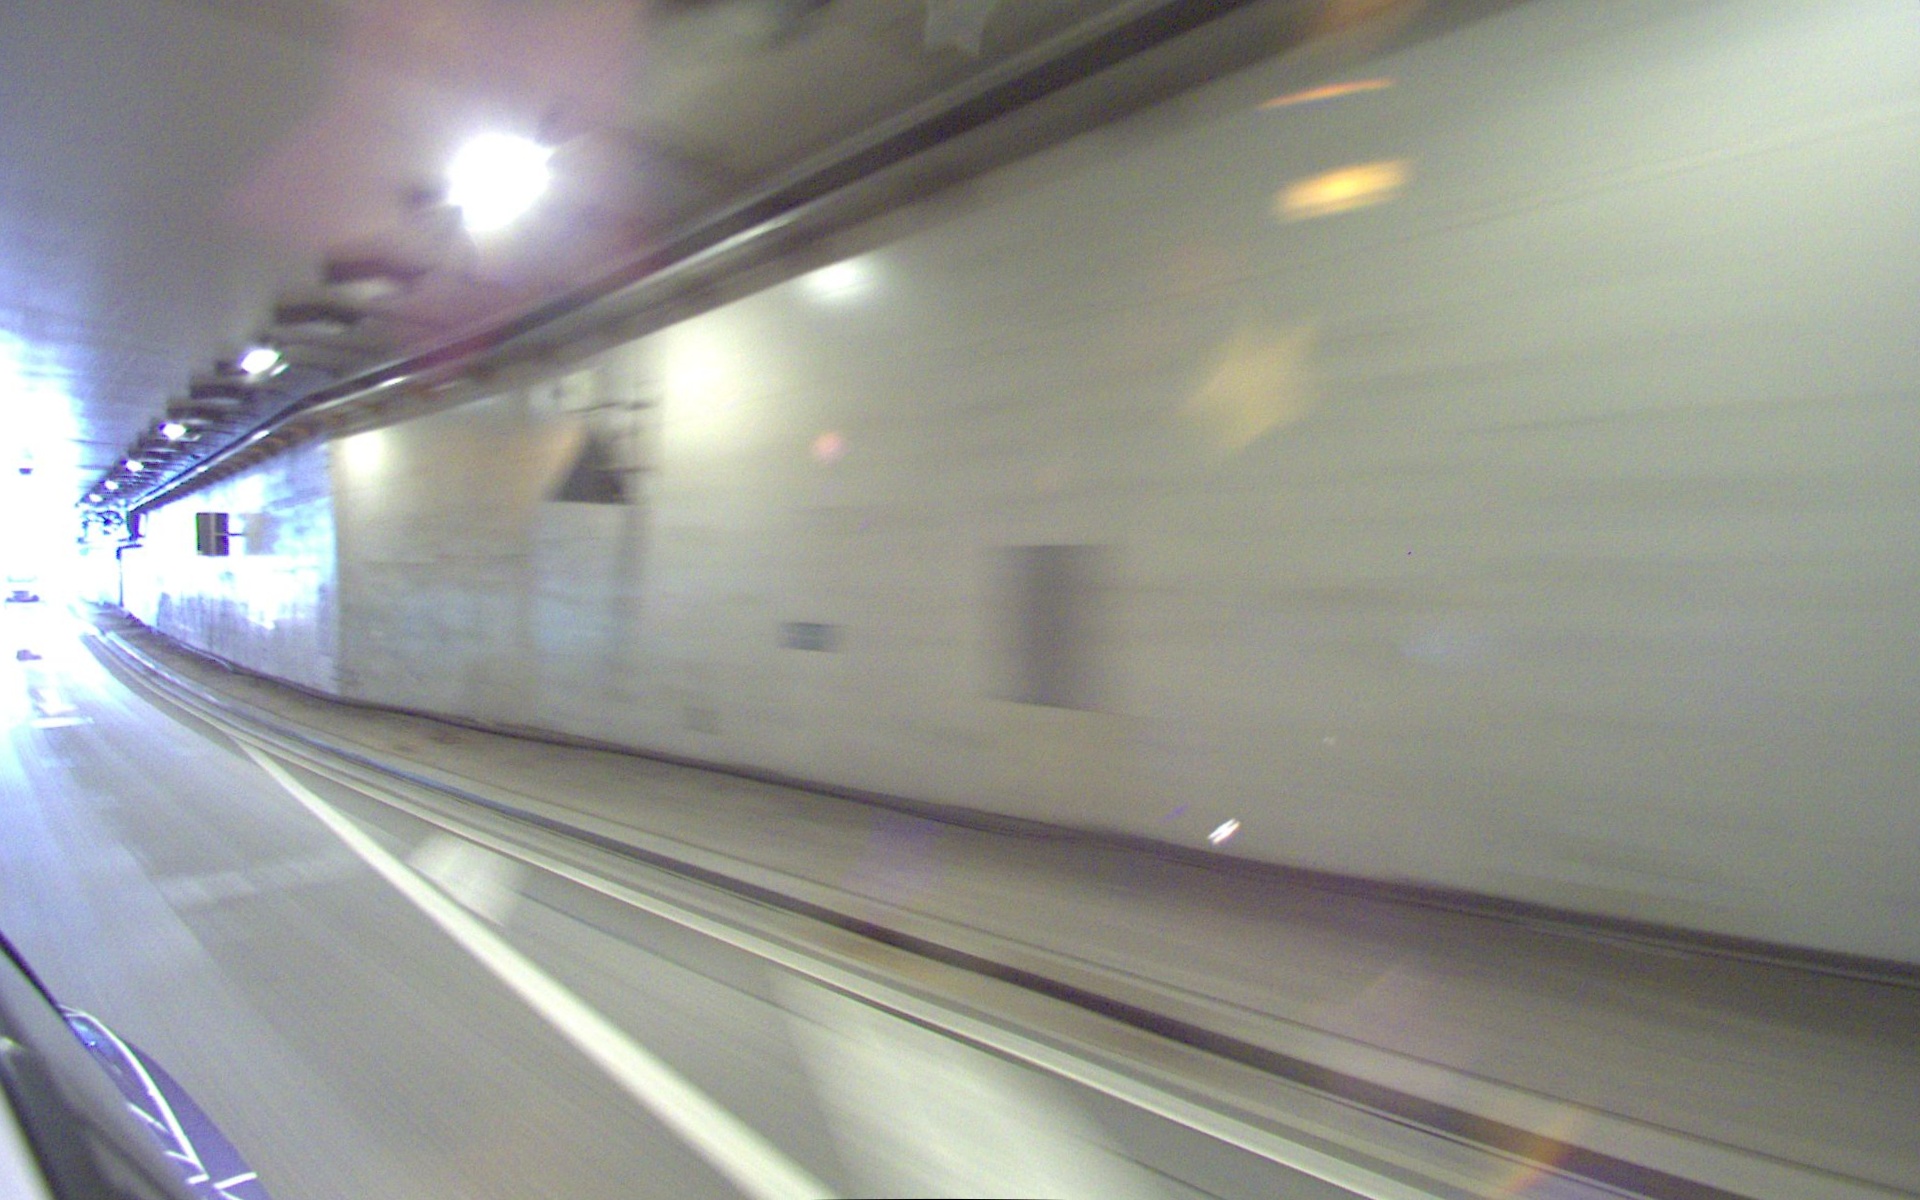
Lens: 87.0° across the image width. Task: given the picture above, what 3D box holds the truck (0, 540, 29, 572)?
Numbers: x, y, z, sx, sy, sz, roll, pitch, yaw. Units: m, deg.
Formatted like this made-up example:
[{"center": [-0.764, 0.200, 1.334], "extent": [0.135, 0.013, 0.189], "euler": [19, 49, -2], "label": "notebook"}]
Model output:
[{"center": [-108.060, -5.091, 115.408], "extent": [2.457, 3.412, 6.387], "euler": [-4, 6, -41], "label": "truck"}]

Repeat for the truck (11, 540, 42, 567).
[{"center": [-114.662, -5.717, 124.307], "extent": [2.457, 3.161, 6.387], "euler": [-4, 6, -41], "label": "truck"}]

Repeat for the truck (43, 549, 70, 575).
[{"center": [-102.539, -4.386, 114.920], "extent": [2.107, 2.748, 5.681], "euler": [-4, 6, -41], "label": "truck"}]

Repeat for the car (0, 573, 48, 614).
[{"center": [-48.358, -0.372, 52.106], "extent": [1.907, 1.943, 4.203], "euler": [-4, 4, -41], "label": "car"}]
